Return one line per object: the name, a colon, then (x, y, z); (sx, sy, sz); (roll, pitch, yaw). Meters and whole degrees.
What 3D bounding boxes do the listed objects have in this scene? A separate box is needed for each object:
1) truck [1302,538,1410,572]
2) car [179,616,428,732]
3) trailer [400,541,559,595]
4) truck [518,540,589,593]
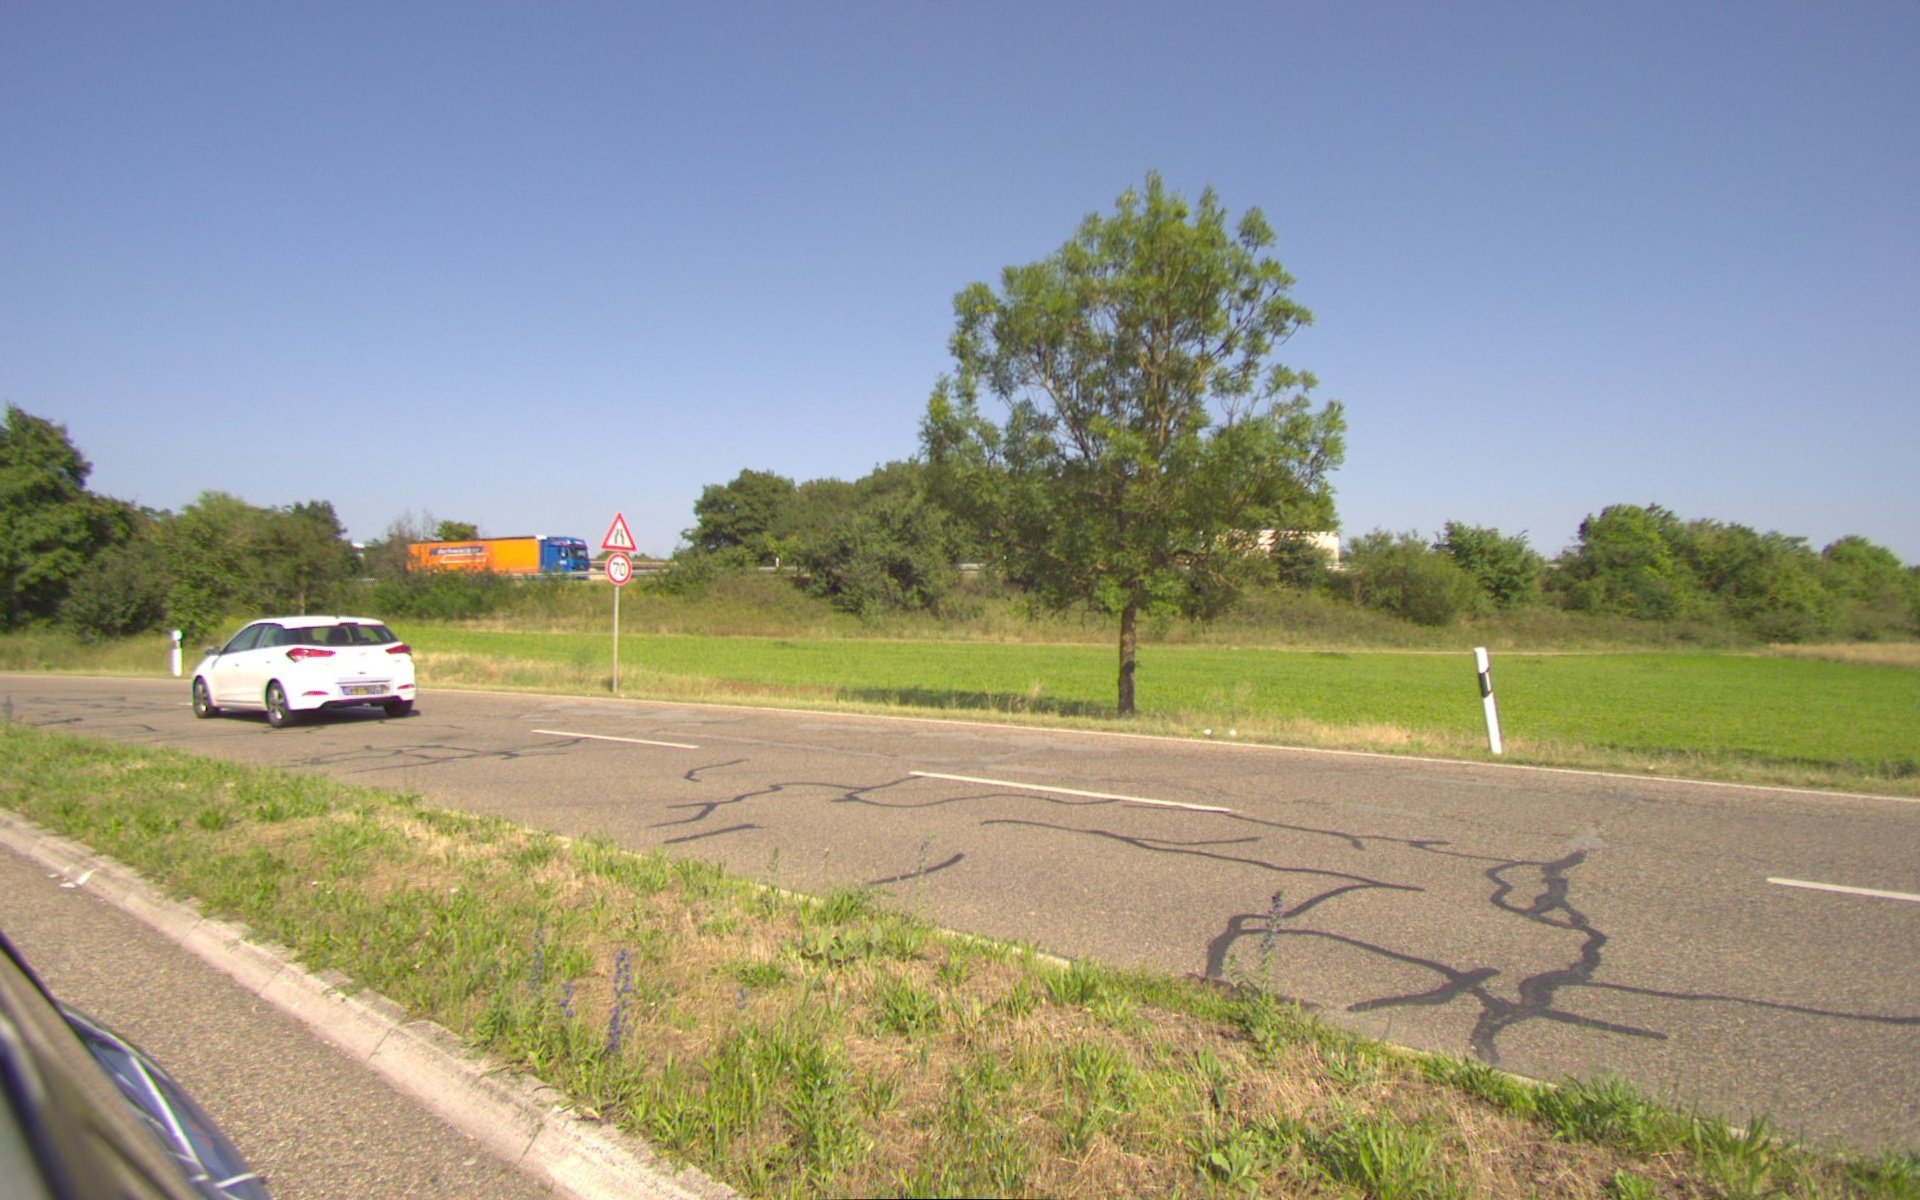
truck: (35.191, -4.005, 89.935); (9.761, 2.828, 2.499); (-1, 0, -21)
car: (-9.613, 0.971, 14.741); (3.903, 1.476, 1.703); (-1, -1, 35)
trailer: (-39.062, -2.499, 82.145); (13.761, 3.989, 2.562); (-1, 0, 19)
truck: (-31.965, -2.603, 79.629); (4.629, 4.005, 2.547); (-1, 0, 19)
